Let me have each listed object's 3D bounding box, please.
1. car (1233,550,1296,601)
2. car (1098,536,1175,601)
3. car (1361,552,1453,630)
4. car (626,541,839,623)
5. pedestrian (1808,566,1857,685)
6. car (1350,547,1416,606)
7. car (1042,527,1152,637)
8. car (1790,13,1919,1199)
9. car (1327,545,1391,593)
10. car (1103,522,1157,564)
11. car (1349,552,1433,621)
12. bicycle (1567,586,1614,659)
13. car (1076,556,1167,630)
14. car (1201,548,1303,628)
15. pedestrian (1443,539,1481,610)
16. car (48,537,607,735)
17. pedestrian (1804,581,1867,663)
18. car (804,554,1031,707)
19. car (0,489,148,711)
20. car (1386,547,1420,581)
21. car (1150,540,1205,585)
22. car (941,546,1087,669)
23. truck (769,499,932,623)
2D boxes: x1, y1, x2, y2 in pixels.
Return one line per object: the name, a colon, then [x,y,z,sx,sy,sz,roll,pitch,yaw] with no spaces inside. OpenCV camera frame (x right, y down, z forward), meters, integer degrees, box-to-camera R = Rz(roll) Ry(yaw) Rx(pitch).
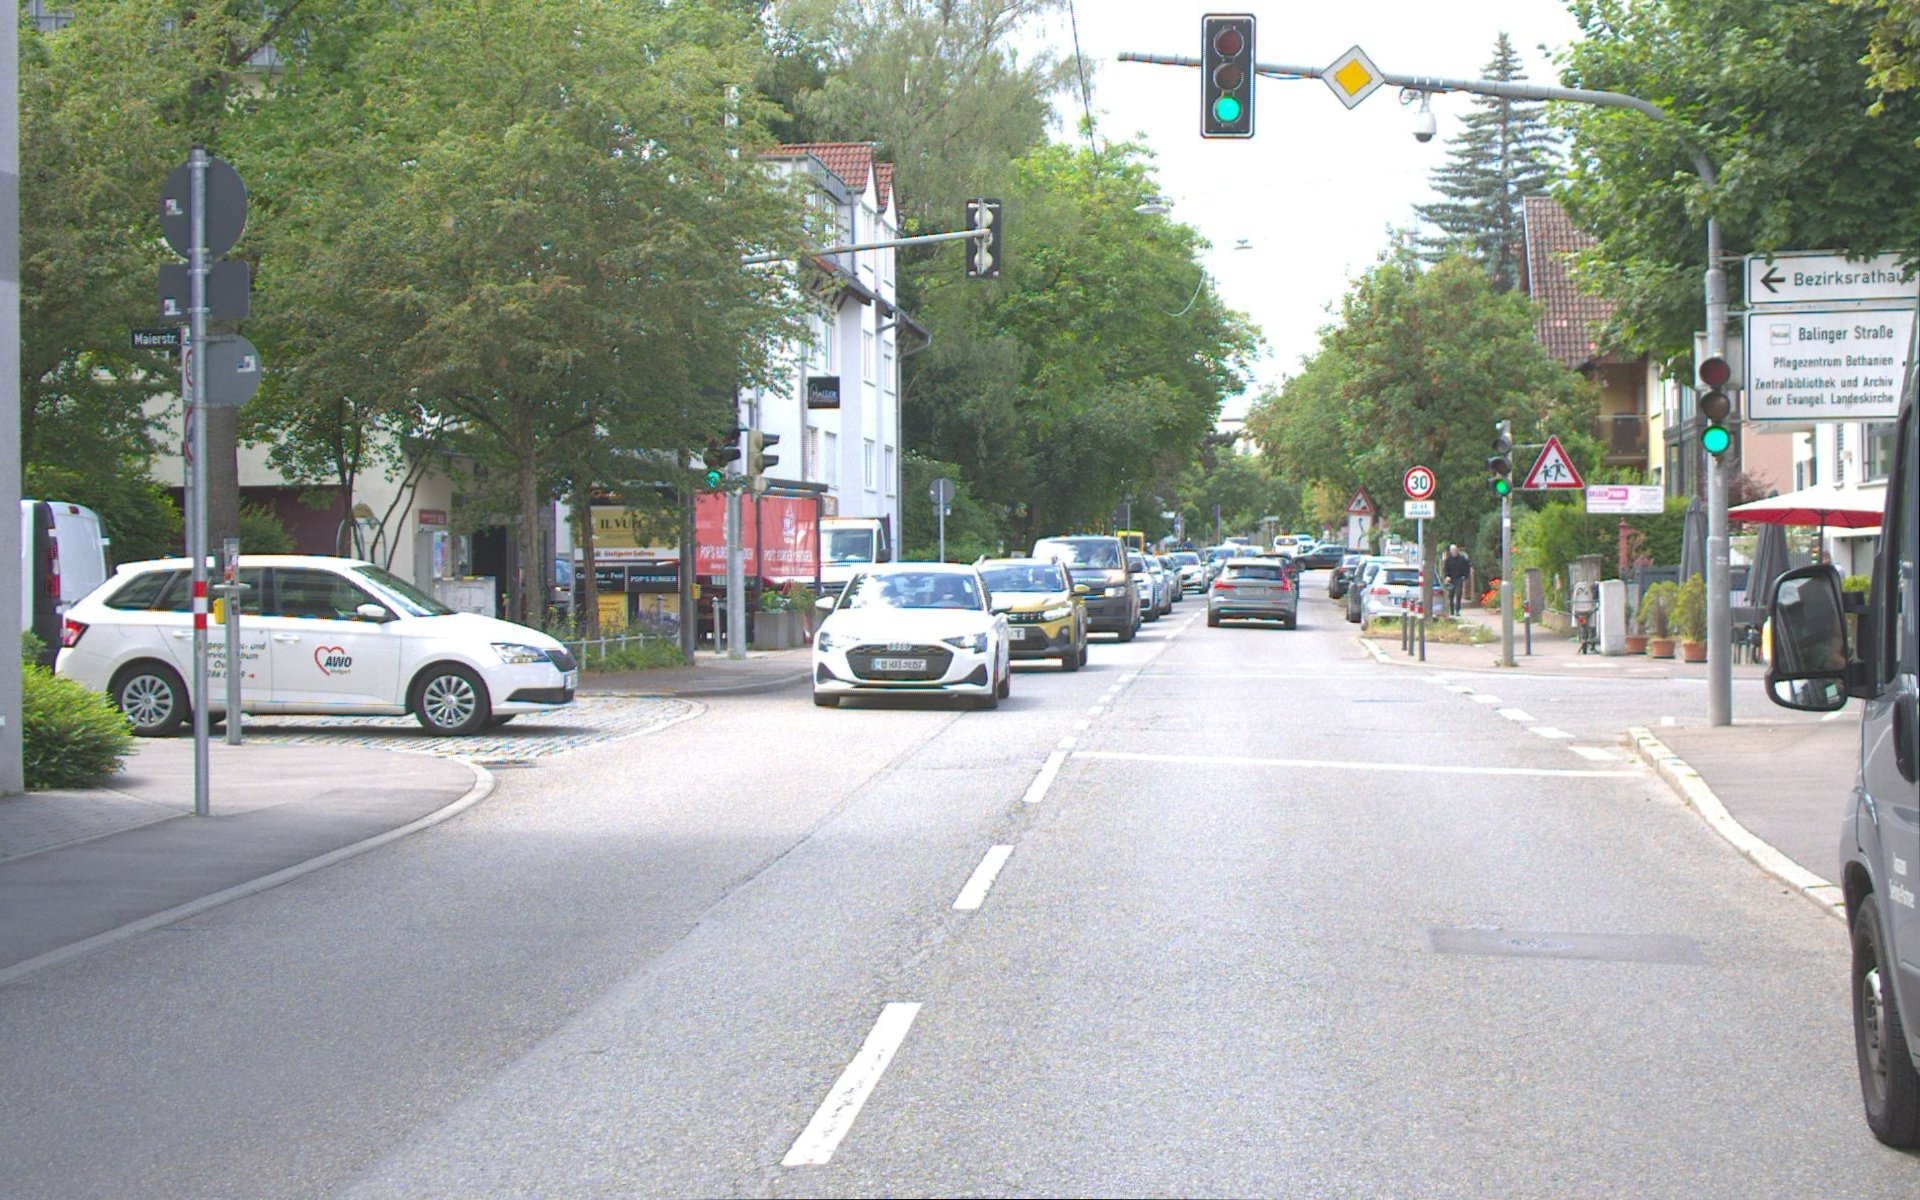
car: [9.636,-0.783,108.539,1.816,1.495,4.266,1,1,7]
car: [4.416,-0.803,85.569,1.728,1.497,4.375,-2,1,5]
car: [9.253,-0.212,71.357,1.701,1.475,4.871,1,1,6]
car: [-4.096,-0.336,62.336,3.692,1.420,1.805,1,1,2]
pedestrian: [12.980,0.381,51.155,0.427,1.756,0.676,0,0,-15]
car: [11.183,-0.643,91.007,1.622,1.502,3.778,0,1,5]
car: [2.524,-0.354,62.378,1.877,1.906,4.751,1,1,4]
car: [3.140,0.072,6.929,2.148,2.761,6.248,0,1,7]
car: [12.742,-1.009,109.891,1.802,1.440,4.886,2,1,5]
car: [8.178,-2.734,165.315,2.146,1.974,4.929,0,0,8]
car: [9.969,-0.342,79.770,1.734,1.424,4.882,3,2,5]
bicycle: [10.187,0.345,55.518,0.721,1.146,2.212,0,0,11]
car: [3.691,-0.173,78.060,1.806,1.566,4.158,-2,1,5]
car: [6.220,-0.280,72.992,1.976,1.508,4.266,3,2,6]
pedestrian: [12.209,-0.615,83.675,0.880,1.706,0.842,0,0,7]
car: [-5.176,0.265,28.452,4.212,1.508,1.822,1,2,5]
pedestrian: [11.757,0.295,46.173,0.566,1.085,0.634,0,0,-20]
car: [-0.361,0.259,34.584,1.874,1.419,4.114,0,1,5]
car: [-10.194,-0.038,32.218,4.621,2.002,2.095,1,1,3]
car: [26.915,-2.172,208.897,1.994,2.007,3.999,0,0,7]
car: [7.527,-1.314,118.736,1.760,1.434,3.970,-2,1,5]
car: [0.771,0.066,46.381,1.728,1.532,4.000,0,1,4]
truck: [-2.150,-0.775,69.479,2.225,2.372,6.323,0,0,8]
